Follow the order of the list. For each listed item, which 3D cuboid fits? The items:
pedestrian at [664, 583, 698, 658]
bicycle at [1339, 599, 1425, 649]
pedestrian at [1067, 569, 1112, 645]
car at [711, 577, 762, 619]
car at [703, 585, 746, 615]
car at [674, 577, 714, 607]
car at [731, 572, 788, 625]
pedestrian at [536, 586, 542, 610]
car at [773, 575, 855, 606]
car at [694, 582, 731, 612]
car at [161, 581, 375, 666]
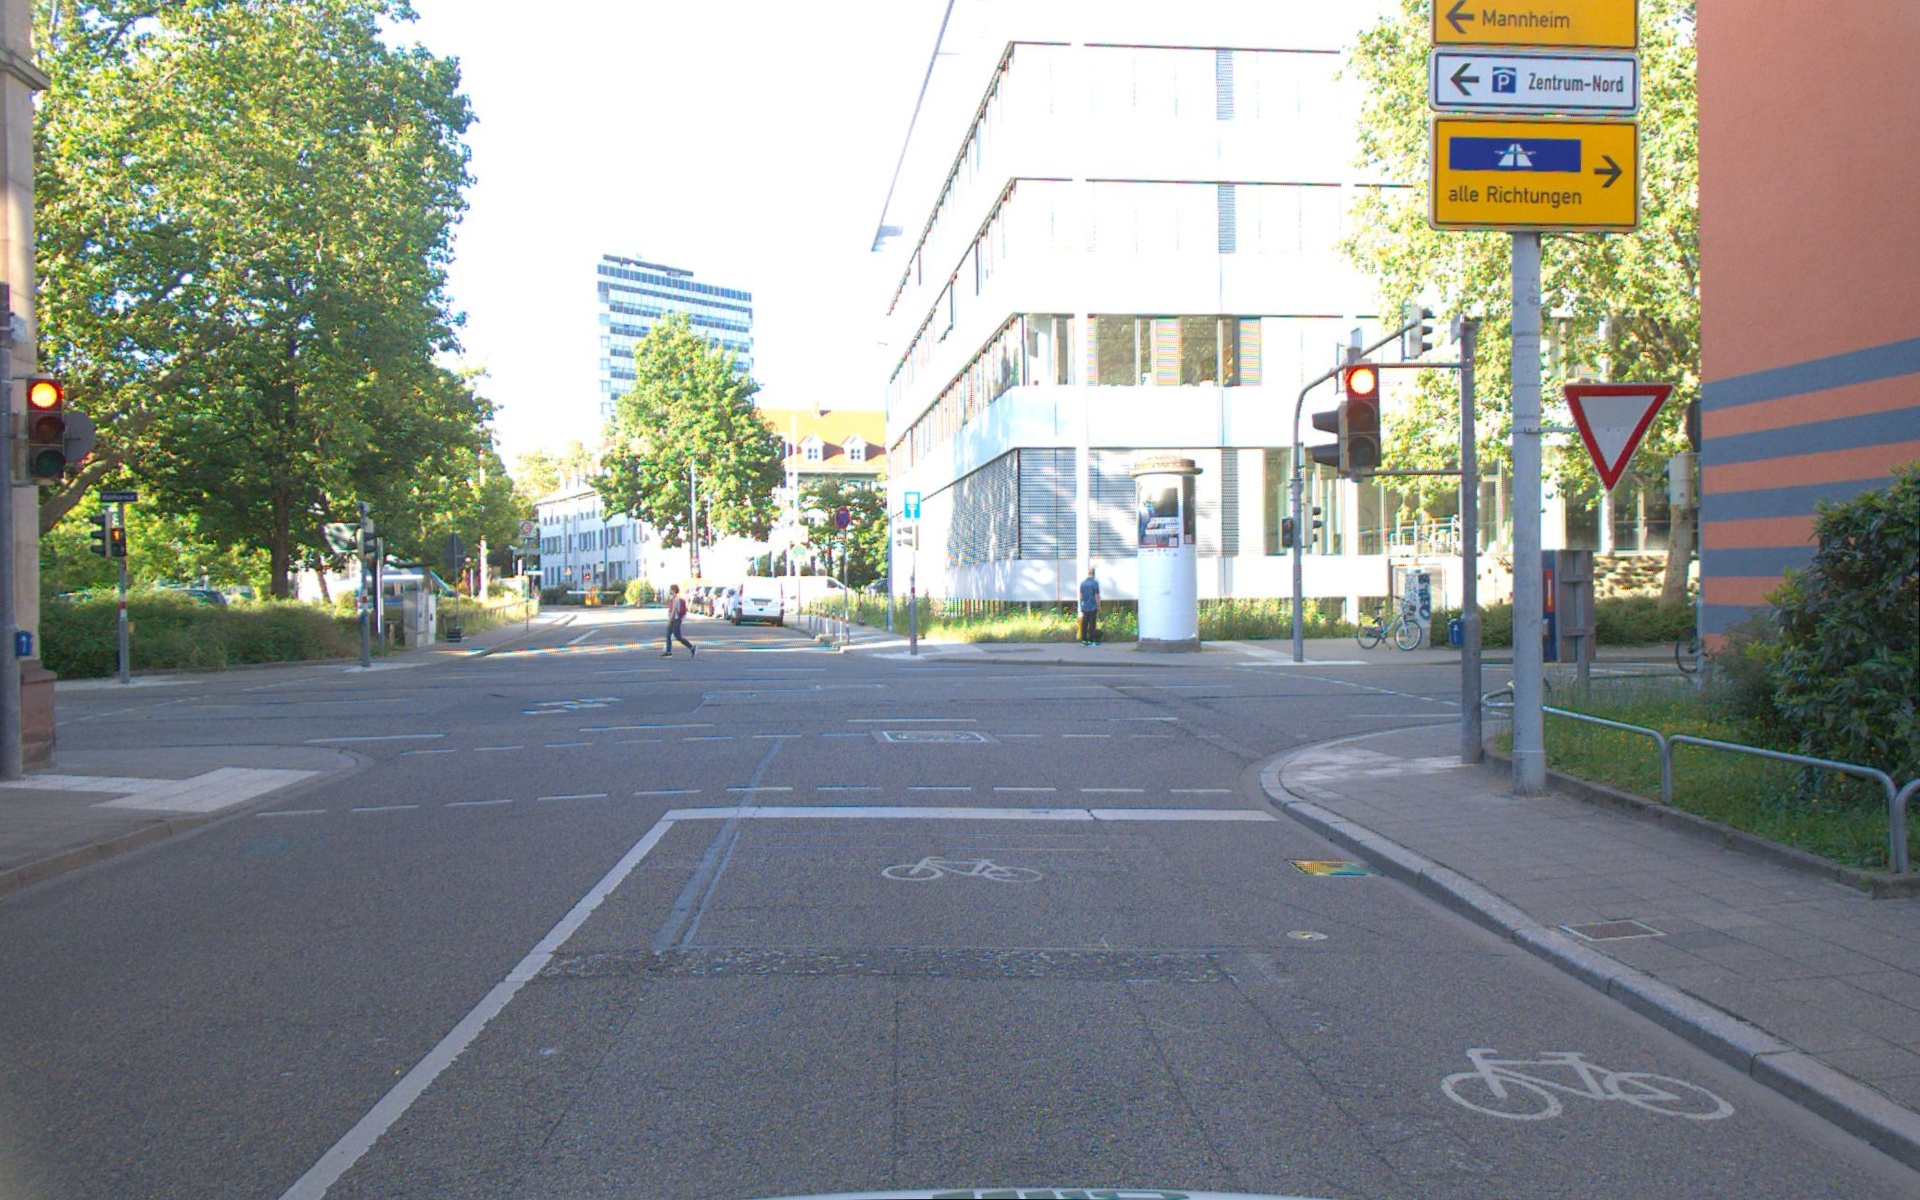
[{"bbox_3d":[-6.168,0.448,36.524,0.698,1.627,0.616,-1,0,-9],"label":"pedestrian"},{"bbox_3d":[9.222,0.510,36.237,0.460,1.067,1.886,-1,1,-42],"label":"bicycle"},{"bbox_3d":[3.047,0.158,38.881,0.798,1.766,0.650,-1,0,45],"label":"pedestrian"},{"bbox_3d":[-10.352,-0.101,76.392,1.913,1.826,4.224,-1,1,-13],"label":"car"},{"bbox_3d":[-11.566,-0.013,81.162,1.675,1.449,4.223,-1,1,-14],"label":"car"},{"bbox_3d":[-15.379,-0.483,95.416,2.063,1.687,4.463,-1,1,-11],"label":"car"},{"bbox_3d":[-7.862,-0.074,64.511,2.029,1.997,4.229,-1,1,-9],"label":"car"},{"bbox_3d":[-27.573,-0.164,108.295,0.373,1.561,0.444,-1,0,-13],"label":"pedestrian"},{"bbox_3d":[-9.057,-0.580,102.701,4.804,1.905,1.990,1,0,-17],"label":"car"},{"bbox_3d":[-12.849,-0.147,85.631,1.674,1.490,4.226,-1,1,-11],"label":"car"},{"bbox_3d":[-15.765,0.511,37.895,4.146,1.808,1.901,-1,0,-9],"label":"car"}]
